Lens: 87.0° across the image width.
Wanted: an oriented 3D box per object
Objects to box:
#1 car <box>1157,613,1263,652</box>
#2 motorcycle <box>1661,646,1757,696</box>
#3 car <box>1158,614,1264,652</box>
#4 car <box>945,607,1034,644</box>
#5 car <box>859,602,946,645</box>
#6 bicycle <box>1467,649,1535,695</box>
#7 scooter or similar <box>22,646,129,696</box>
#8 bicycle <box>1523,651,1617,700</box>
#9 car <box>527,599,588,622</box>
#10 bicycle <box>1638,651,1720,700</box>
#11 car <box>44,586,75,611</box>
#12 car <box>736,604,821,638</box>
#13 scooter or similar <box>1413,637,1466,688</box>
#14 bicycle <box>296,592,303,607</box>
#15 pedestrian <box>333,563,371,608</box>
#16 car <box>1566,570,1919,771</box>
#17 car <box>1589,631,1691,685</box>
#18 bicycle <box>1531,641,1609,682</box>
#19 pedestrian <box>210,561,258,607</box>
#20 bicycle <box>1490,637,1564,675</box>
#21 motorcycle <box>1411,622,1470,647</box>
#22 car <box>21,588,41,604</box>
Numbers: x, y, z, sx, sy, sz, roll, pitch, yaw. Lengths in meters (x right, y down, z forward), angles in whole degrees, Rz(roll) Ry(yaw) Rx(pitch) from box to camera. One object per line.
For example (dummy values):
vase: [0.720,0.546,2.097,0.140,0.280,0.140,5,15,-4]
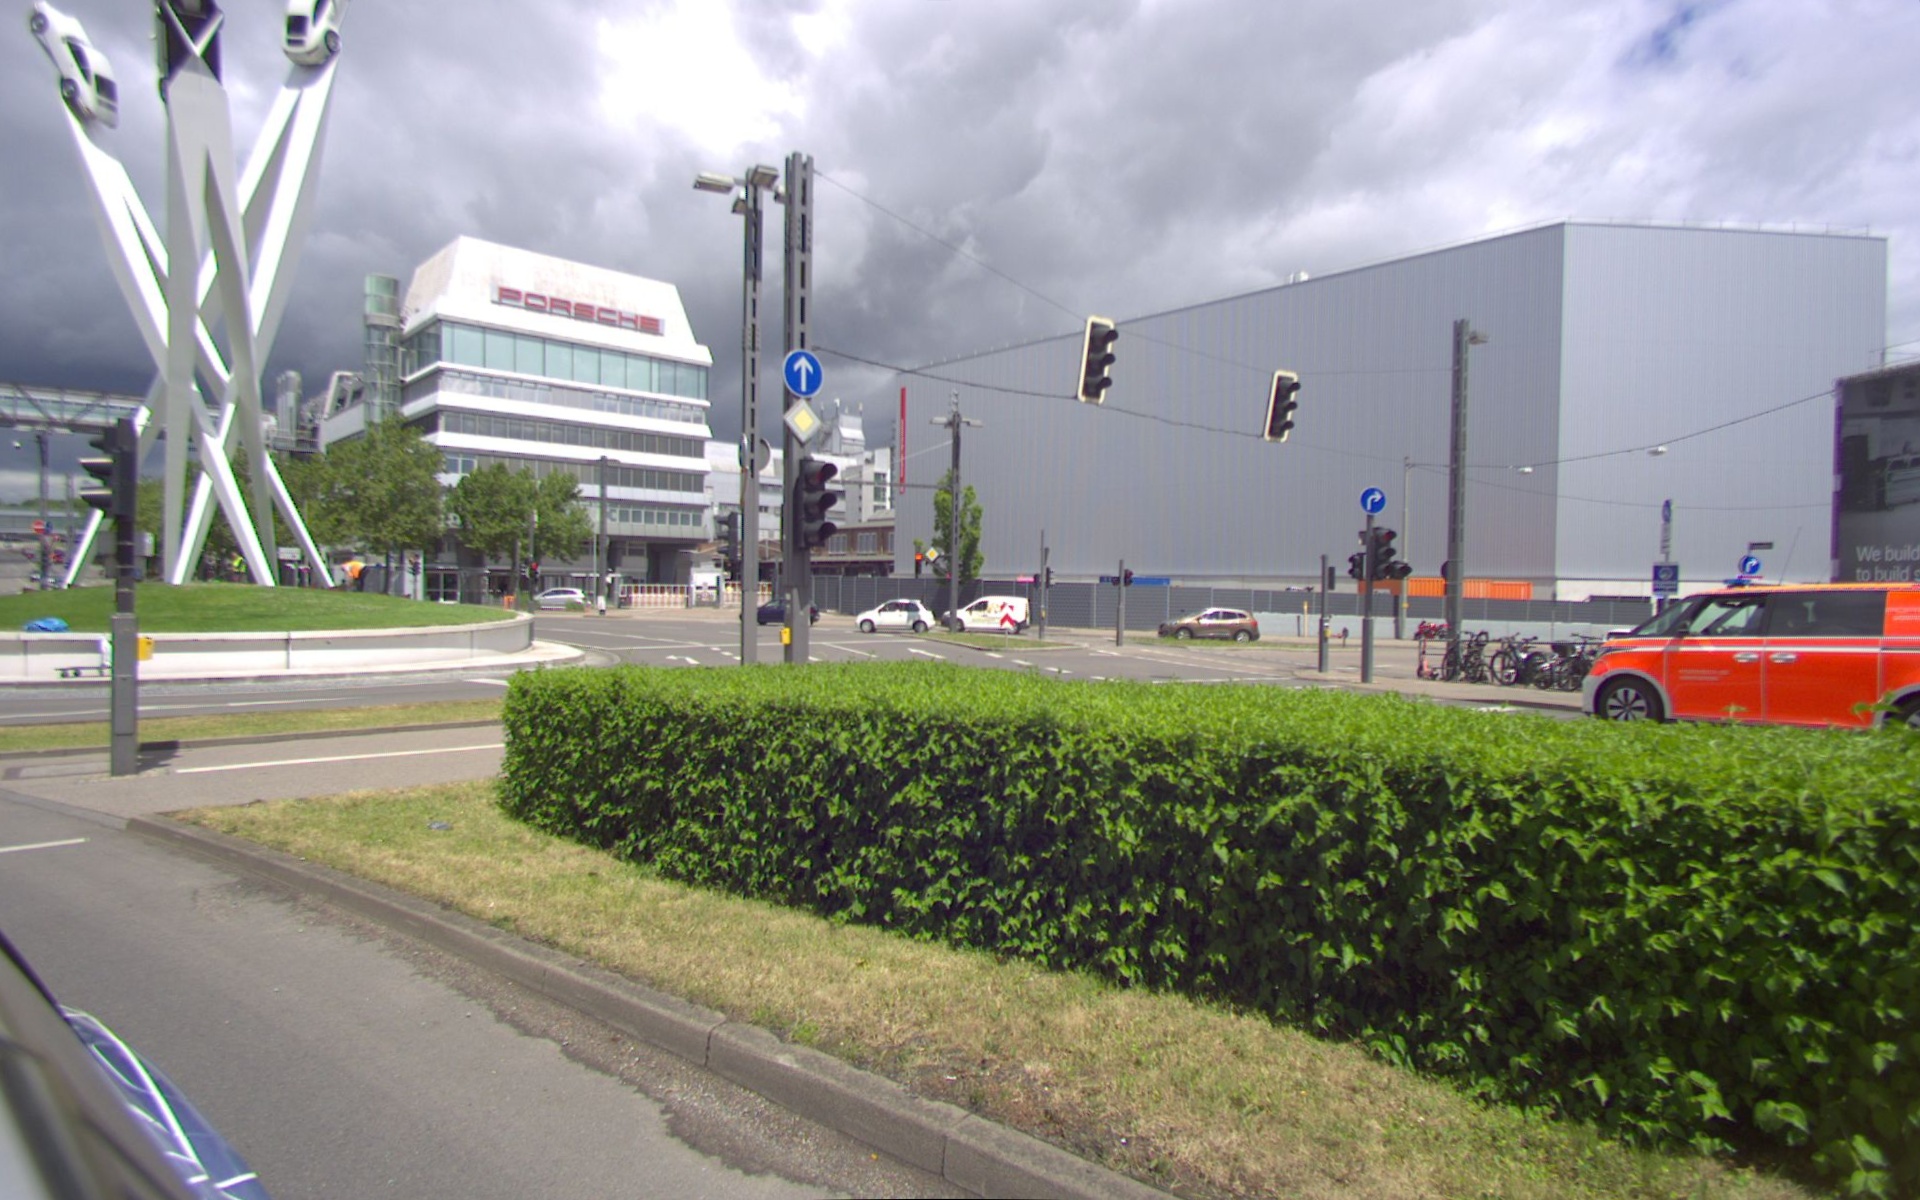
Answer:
car: [10.996,1.422,44.690,4.164,1.568,1.826,0,2,-1]
motorcycle: [21.436,2.002,28.955,2.862,1.204,0.923,-1,2,-25]
car: [11.046,1.452,44.679,4.176,1.556,1.814,0,2,-1]
car: [1.467,1.231,49.796,4.240,1.636,1.996,0,2,7]
car: [-2.566,1.038,45.841,3.727,1.810,1.910,0,2,4]
bicycle: [11.326,1.493,21.247,0.485,0.873,1.612,0,-1,-3]
scooter or similar: [-16.662,1.331,19.097,1.241,0.854,0.911,0,0,-12]
bicycle: [11.669,1.432,19.422,0.484,0.873,1.615,-1,-2,-16]
car: [-27.769,0.727,69.909,3.553,1.493,1.815,0,2,-6]
bicycle: [14.652,1.522,20.667,0.485,0.873,1.611,0,0,-2]
car: [-78.703,-0.154,88.432,1.845,1.970,4.717,-3,4,-42]
car: [-9.181,1.032,51.391,3.915,1.568,1.798,0,2,11]
scooter or similar: [11.494,1.482,24.308,0.495,1.190,1.631,0,-3,1]
bicycle: [-51.221,-0.049,78.491,0.293,1.140,1.487,-2,3,-40]
pedestrian: [-20.737,-0.507,34.536,0.841,1.417,0.968,6,0,-21]
car: [9.910,0.736,11.538,1.965,1.998,4.852,2,-1,-27]
car: [21.419,1.787,31.846,3.302,1.360,1.788,-2,3,-40]
bicycle: [14.062,1.418,23.332,1.585,0.873,0.494,0,2,-9]
pedestrian: [-29.728,-0.636,41.426,0.983,1.830,1.273,1,0,30]
bicycle: [13.843,1.364,24.709,1.585,0.873,0.494,0,2,-9]
motorcycle: [26.274,1.889,55.370,2.712,1.238,0.954,1,2,-2]
car: [-123.466,-0.546,134.563,1.845,1.970,4.717,-3,4,-42]
